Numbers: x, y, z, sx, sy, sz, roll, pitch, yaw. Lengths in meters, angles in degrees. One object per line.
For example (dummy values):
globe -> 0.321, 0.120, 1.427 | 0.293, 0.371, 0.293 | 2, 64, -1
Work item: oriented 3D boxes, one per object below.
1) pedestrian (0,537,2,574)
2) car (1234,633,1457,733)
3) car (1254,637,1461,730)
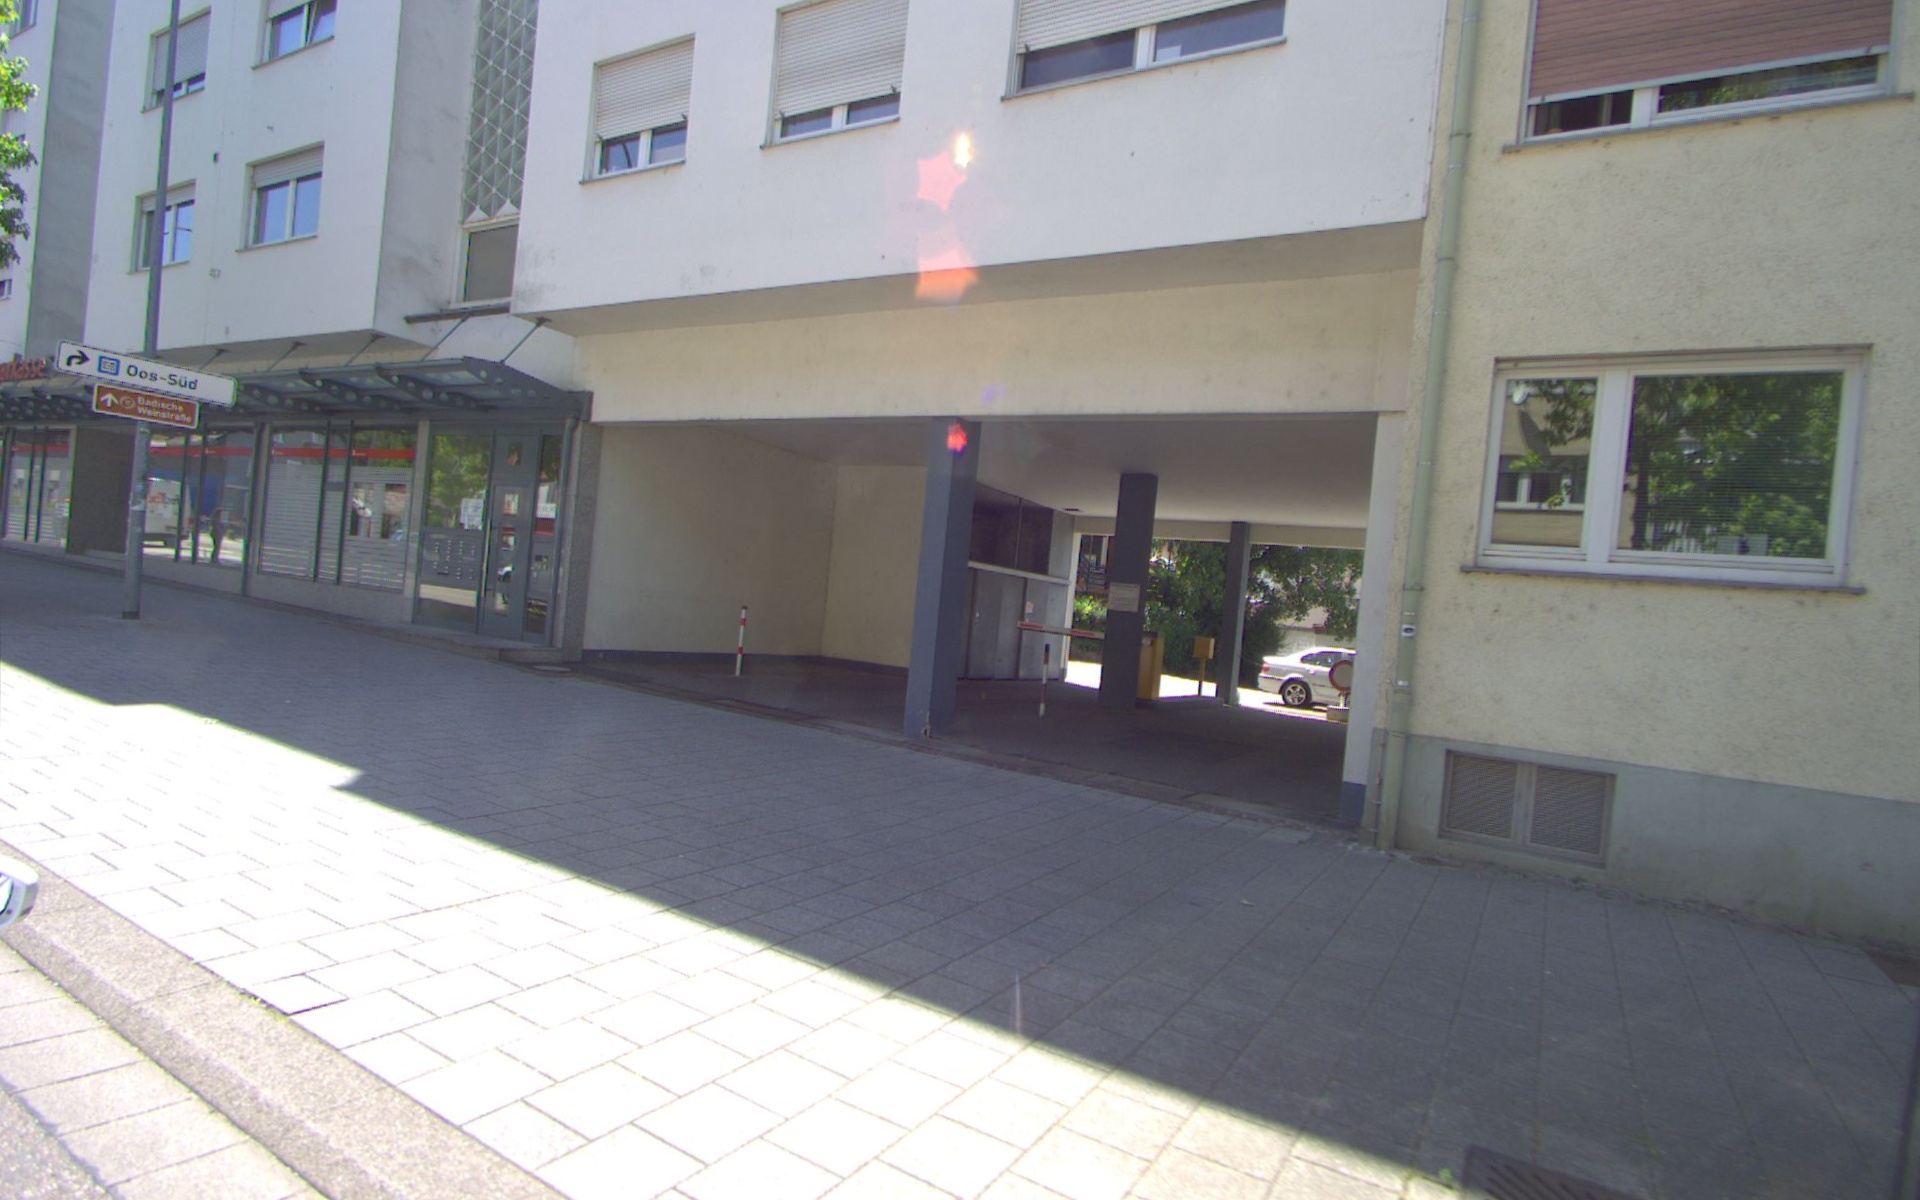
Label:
pedestrian -> -11.747, -0.335, 11.821 | 0.675, 0.863, 0.531 | 5, 1, -44
car -> 7.883, 1.650, 20.664 | 3.933, 1.471, 1.731 | 6, 0, 31
car -> 8.795, 1.806, 22.359 | 3.933, 1.471, 1.731 | 6, 0, 31
